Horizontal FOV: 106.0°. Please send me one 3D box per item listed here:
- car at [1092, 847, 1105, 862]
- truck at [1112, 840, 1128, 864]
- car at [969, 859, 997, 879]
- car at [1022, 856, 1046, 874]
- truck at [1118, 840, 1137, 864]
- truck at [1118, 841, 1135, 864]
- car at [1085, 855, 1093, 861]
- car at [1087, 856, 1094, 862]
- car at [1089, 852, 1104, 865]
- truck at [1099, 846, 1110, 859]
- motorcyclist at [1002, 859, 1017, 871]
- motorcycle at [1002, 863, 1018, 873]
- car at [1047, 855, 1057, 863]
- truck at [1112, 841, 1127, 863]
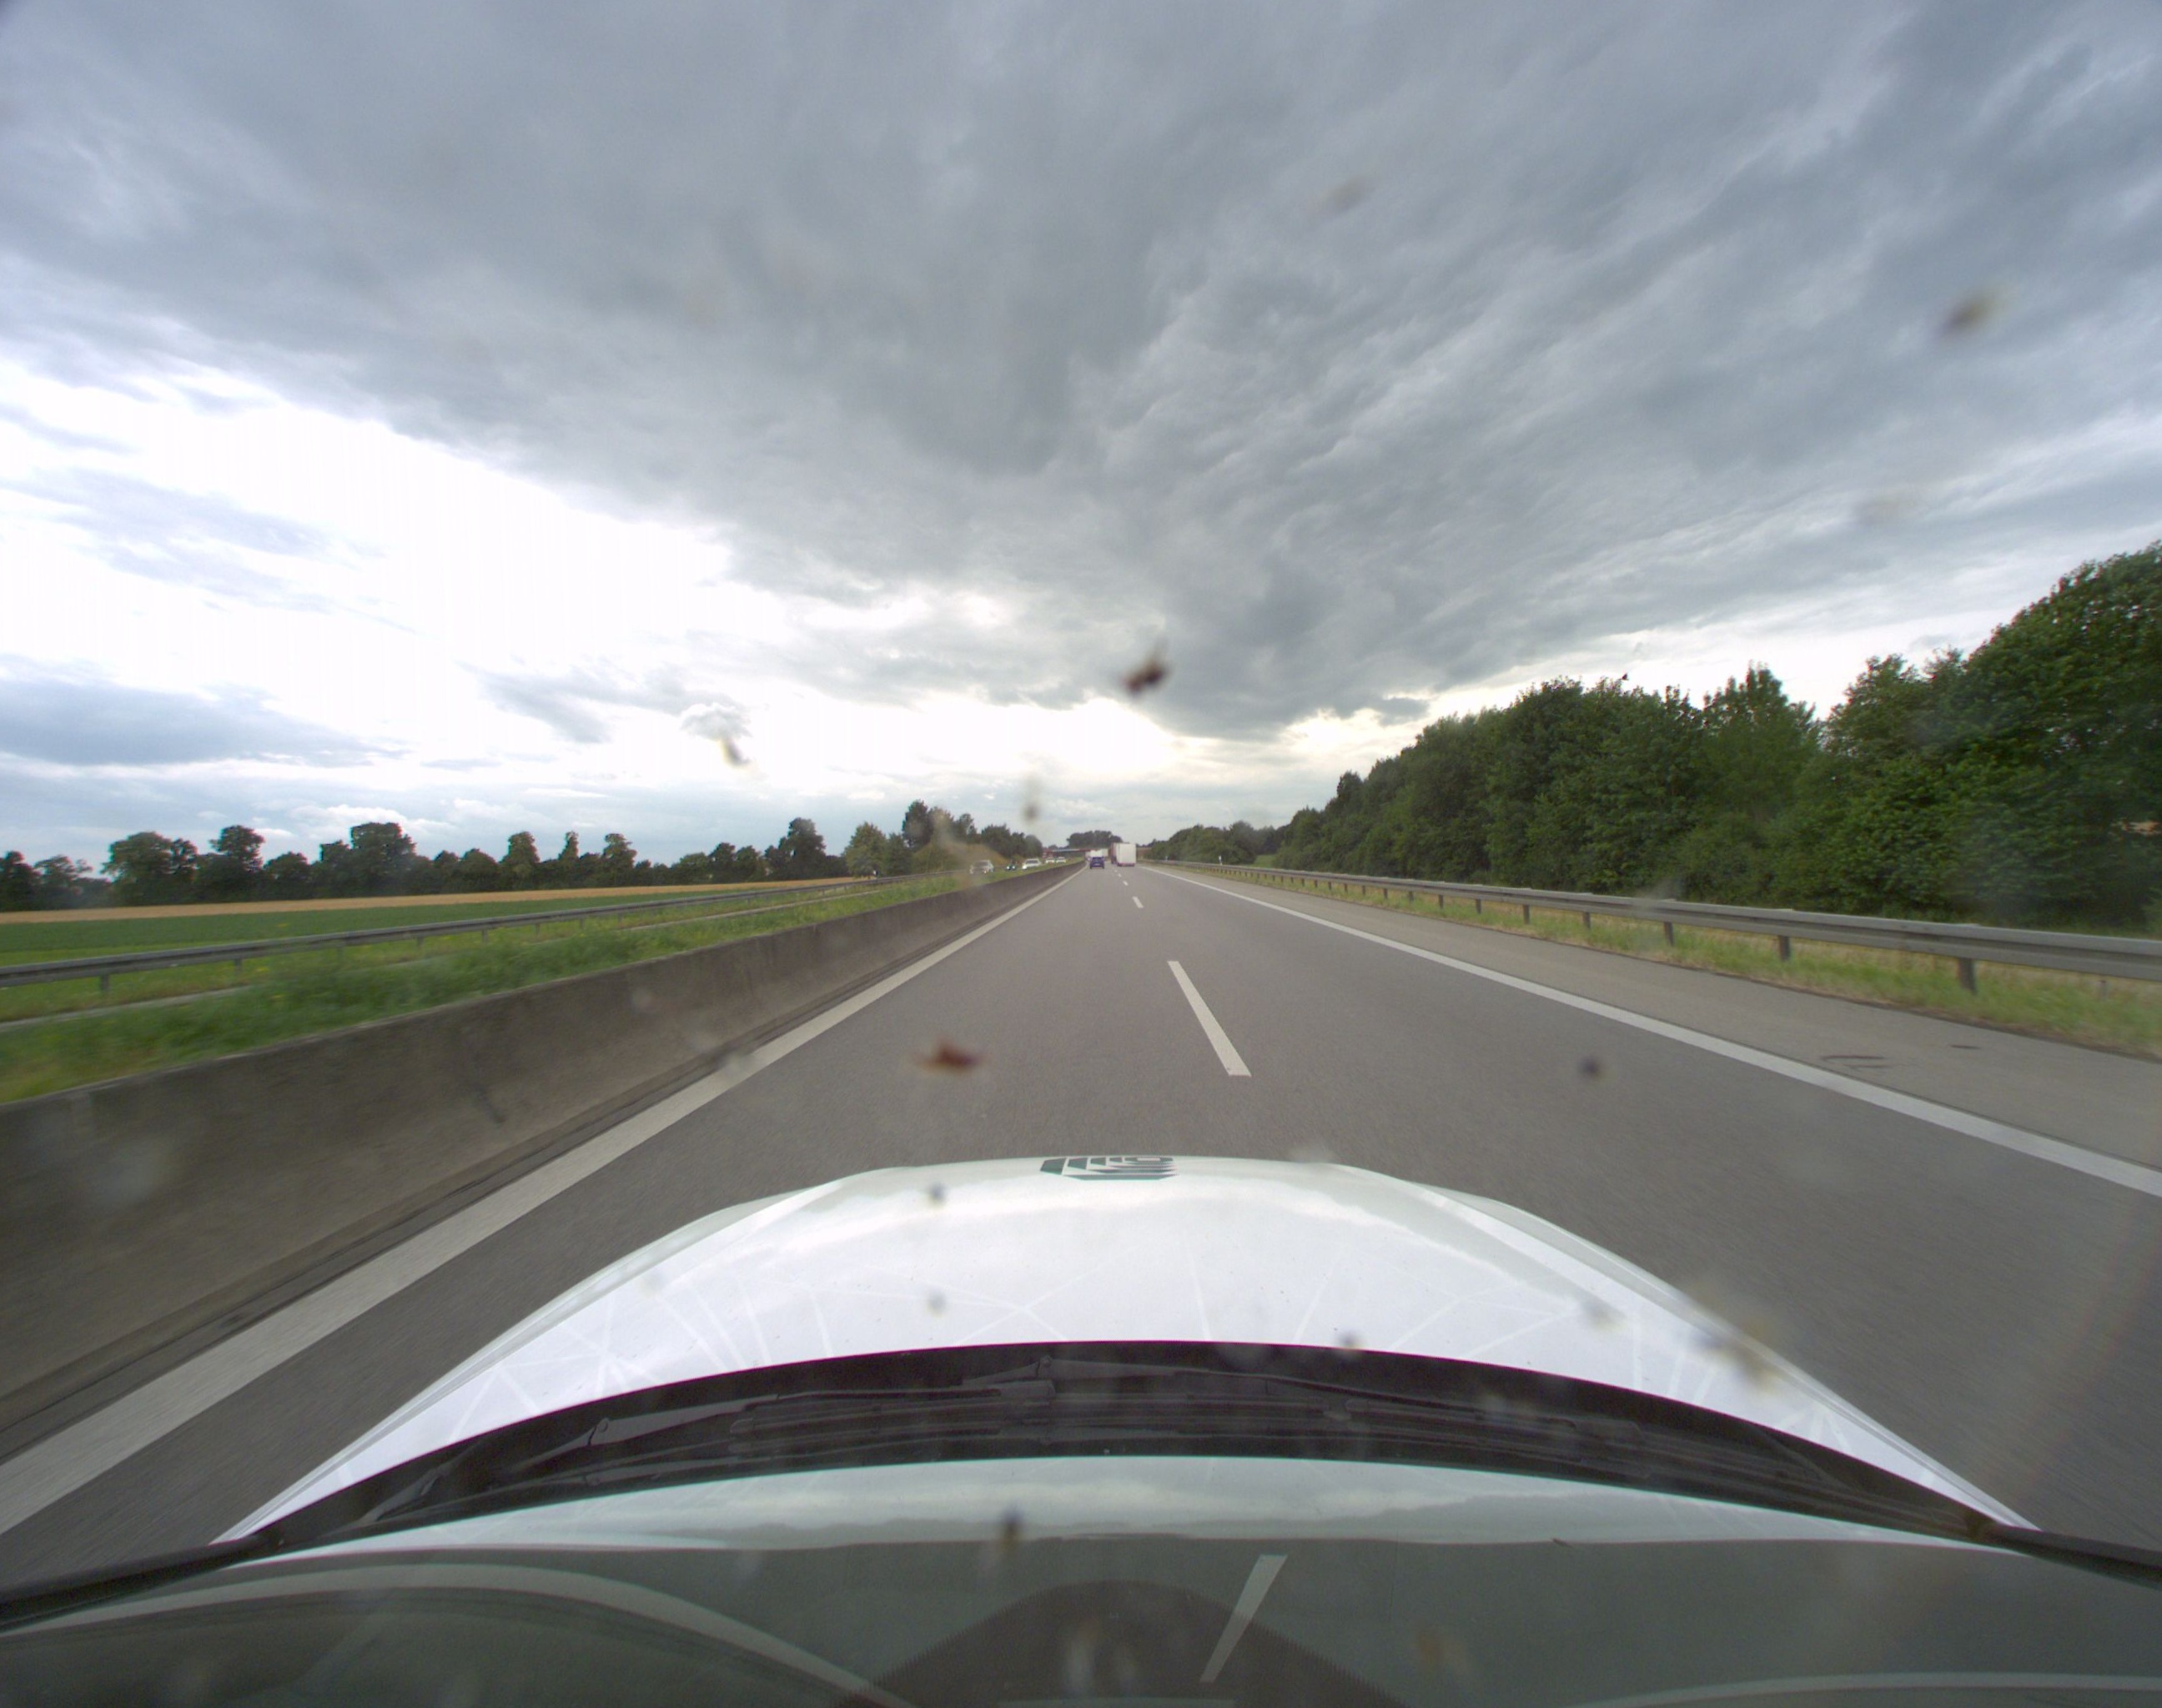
[{"bbox_3d":[2.920,0.127,135.595,2.123,2.483,5.840,-2,0,1],"label":"car"},{"bbox_3d":[7.169,-0.349,150.141,2.663,4.045,11.113,-2,0,2],"label":"truck"},{"bbox_3d":[-9.061,1.378,75.560,1.829,1.626,4.692,-3,0,1],"label":"car"},{"bbox_3d":[-4.935,1.132,86.061,1.940,1.694,5.176,-3,0,1],"label":"car"},{"bbox_3d":[6.437,-0.281,113.003,2.406,3.222,7.146,-1,0,2],"label":"truck"},{"bbox_3d":[6.677,-0.217,120.185,2.420,3.243,7.250,-1,0,2],"label":"truck"},{"bbox_3d":[2.454,1.194,247.246,1.989,1.684,3.996,-1,0,-2],"label":"car"},{"bbox_3d":[2.542,1.354,216.827,1.928,1.643,4.903,-2,0,1],"label":"car"},{"bbox_3d":[1.843,0.547,95.560,1.658,1.407,3.648,-1,0,1],"label":"car"},{"bbox_3d":[7.444,-0.476,262.151,3.101,3.689,9.319,-4,0,0],"label":"truck"},{"bbox_3d":[-8.666,1.364,98.944,1.561,1.371,1.253,-3,-1,1],"label":"motorcyclist"},{"bbox_3d":[-8.652,1.665,98.923,1.561,1.078,2.983,-3,0,1],"label":"motorcycle"},{"bbox_3d":[-6.423,1.119,178.625,1.859,1.574,4.693,-3,0,0],"label":"car"},{"bbox_3d":[7.368,-0.370,155.567,2.663,4.045,5.515,-2,0,2],"label":"truck"}]
